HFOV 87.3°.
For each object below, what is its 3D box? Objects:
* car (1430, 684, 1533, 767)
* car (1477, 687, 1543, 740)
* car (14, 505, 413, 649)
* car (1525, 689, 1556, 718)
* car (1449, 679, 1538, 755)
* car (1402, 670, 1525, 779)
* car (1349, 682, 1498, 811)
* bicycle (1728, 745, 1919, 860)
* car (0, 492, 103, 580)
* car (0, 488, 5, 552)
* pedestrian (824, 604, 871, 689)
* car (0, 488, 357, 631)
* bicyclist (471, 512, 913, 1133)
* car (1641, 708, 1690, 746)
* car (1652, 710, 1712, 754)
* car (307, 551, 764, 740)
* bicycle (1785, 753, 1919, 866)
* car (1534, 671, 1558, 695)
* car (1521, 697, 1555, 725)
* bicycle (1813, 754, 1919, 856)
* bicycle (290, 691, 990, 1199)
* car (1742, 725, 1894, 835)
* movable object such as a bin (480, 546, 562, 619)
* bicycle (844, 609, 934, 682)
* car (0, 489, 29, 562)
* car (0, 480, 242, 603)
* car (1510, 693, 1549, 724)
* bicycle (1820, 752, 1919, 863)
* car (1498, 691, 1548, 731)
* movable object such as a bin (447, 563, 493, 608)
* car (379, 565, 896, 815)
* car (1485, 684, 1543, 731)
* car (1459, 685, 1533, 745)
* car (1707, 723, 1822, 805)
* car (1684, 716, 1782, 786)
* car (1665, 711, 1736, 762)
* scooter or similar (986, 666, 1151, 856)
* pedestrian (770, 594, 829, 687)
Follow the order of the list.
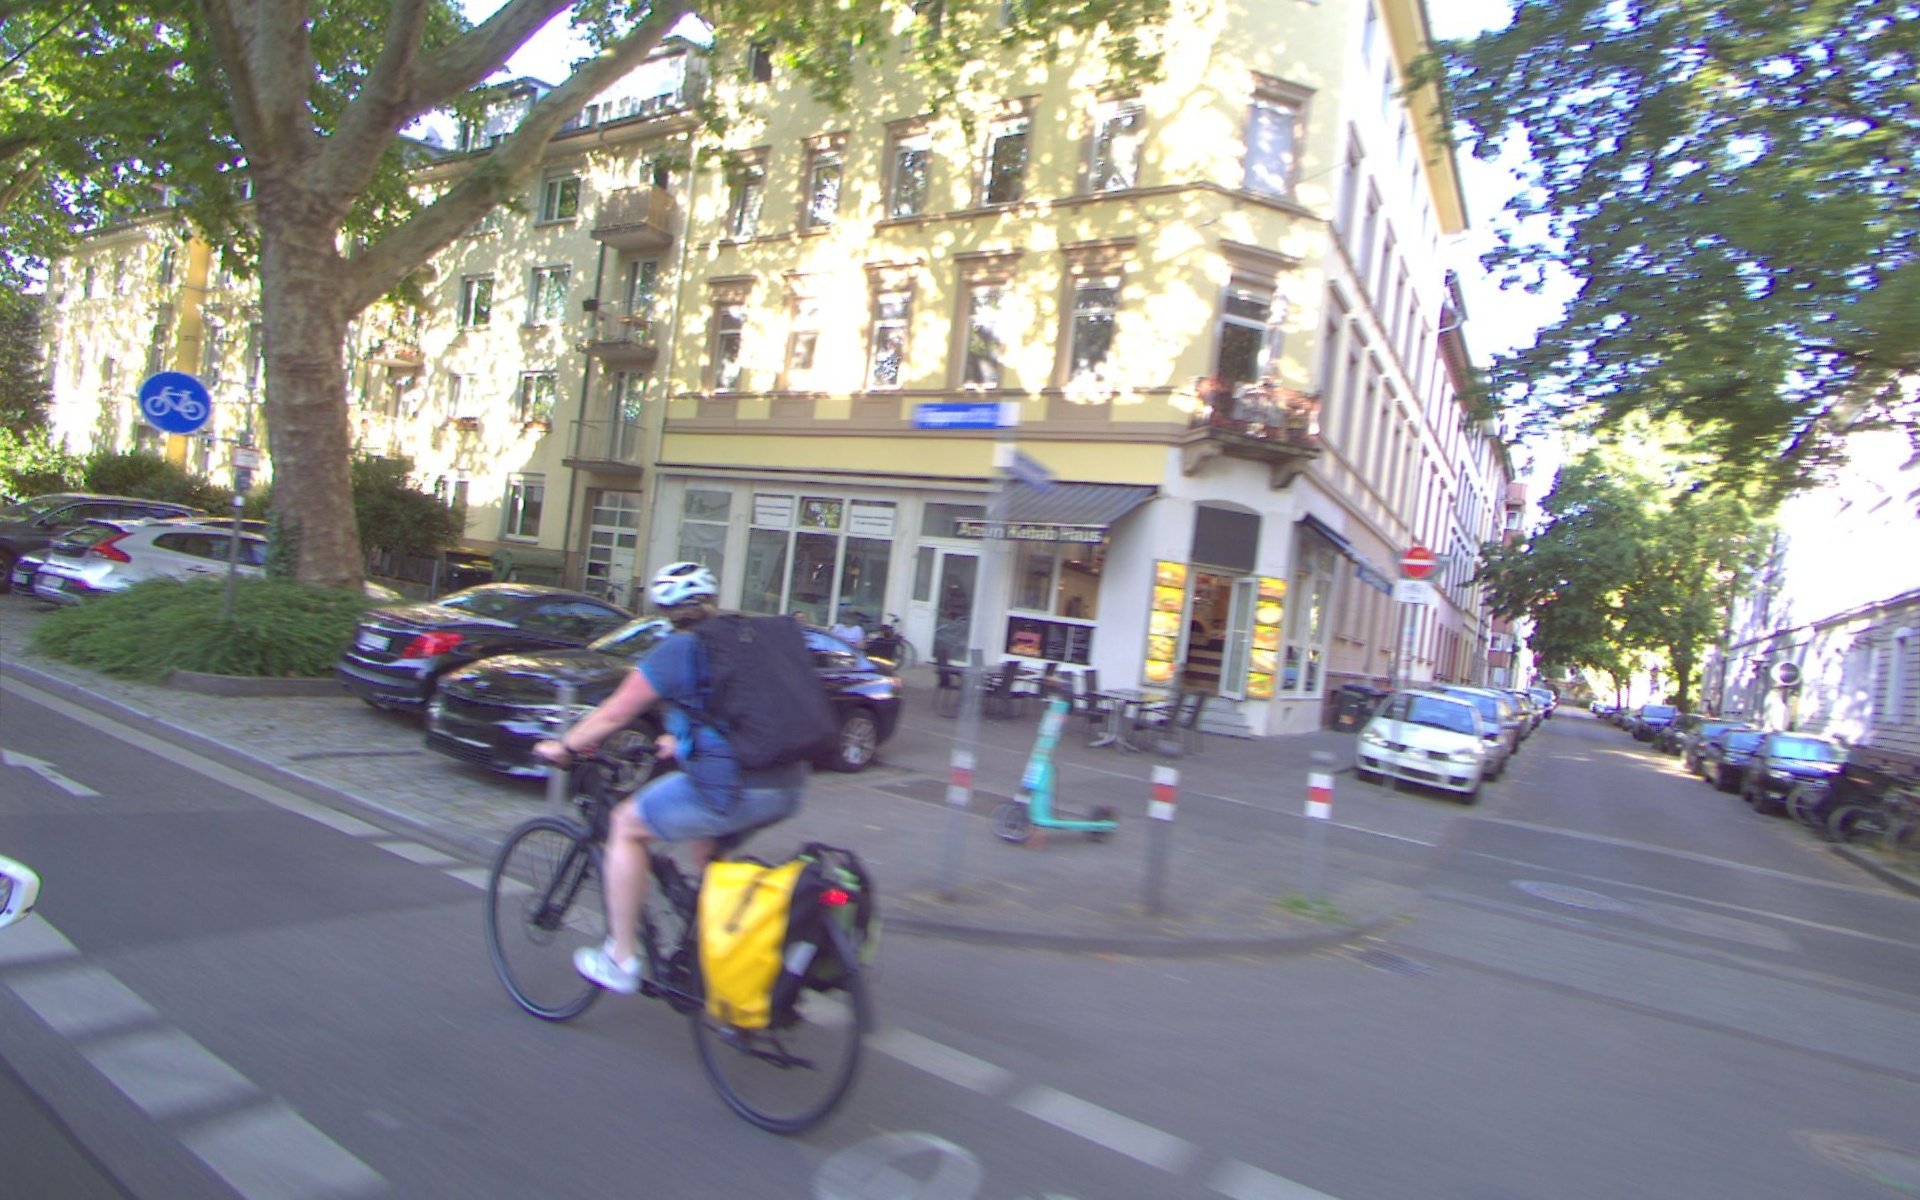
[{"bbox_3d":[12.180,2.883,23.414,1.627,1.508,3.412,9,0,33],"label":"car"},{"bbox_3d":[19.697,4.044,35.975,1.627,1.508,3.412,9,0,33],"label":"car"},{"bbox_3d":[-10.082,-0.222,13.940,1.653,1.498,4.033,7,0,30],"label":"car"},{"bbox_3d":[42.284,7.565,73.287,1.627,1.798,3.413,9,0,32],"label":"car"},{"bbox_3d":[14.771,3.196,27.752,1.627,1.678,4.136,9,0,33],"label":"car"},{"bbox_3d":[9.880,2.372,19.617,1.663,1.636,3.683,9,0,31],"label":"car"},{"bbox_3d":[7.152,2.114,15.352,1.662,1.428,3.685,9,0,28],"label":"car"},{"bbox_3d":[12.814,2.976,14.985,2.010,1.301,0.507,6,0,27],"label":"bicycle"},{"bbox_3d":[-20.150,-1.457,20.583,1.516,1.618,3.600,6,-1,32],"label":"car"},{"bbox_3d":[-24.895,-2.111,23.312,1.666,1.543,3.672,7,2,32],"label":"car"},{"bbox_3d":[-1.908,0.777,16.981,0.480,1.344,0.683,7,0,-21],"label":"pedestrian"},{"bbox_3d":[-11.952,-0.534,15.617,1.653,1.663,4.034,7,0,30],"label":"car"},{"bbox_3d":[-0.818,0.595,3.124,0.920,1.567,0.616,7,-4,32],"label":"bicyclist"},{"bbox_3d":[34.639,6.209,49.458,1.825,1.548,3.861,4,-3,34],"label":"car"},{"bbox_3d":[30.449,5.537,42.501,1.825,1.548,3.861,4,-3,34],"label":"car"},{"bbox_3d":[-4.250,0.550,10.689,1.655,1.509,4.097,7,-1,36],"label":"car"},{"bbox_3d":[12.519,2.871,13.711,1.871,1.301,0.508,5,-1,13],"label":"bicycle"},{"bbox_3d":[50.900,7.184,87.290,1.477,1.798,3.413,9,0,32],"label":"car"},{"bbox_3d":[38.895,7.447,67.654,1.627,1.508,3.412,9,0,33],"label":"car"},{"bbox_3d":[14.184,3.113,15.092,1.975,1.332,0.523,4,-3,32],"label":"bicycle"},{"bbox_3d":[-1.176,0.999,3.267,2.470,1.015,0.596,7,-3,32],"label":"bicycle"},{"bbox_3d":[16.479,3.374,19.520,1.826,1.617,3.988,4,-3,36],"label":"car"},{"bbox_3d":[-9.806,-0.373,22.498,1.099,1.456,1.168,7,1,32],"label":"movable object such as a bin"},{"bbox_3d":[-1.400,0.878,19.662,1.717,1.171,0.470,8,2,32],"label":"bicycle"},{"bbox_3d":[-22.541,-1.814,21.426,1.666,1.537,3.598,7,1,32],"label":"car"},{"bbox_3d":[-14.783,-0.985,16.658,1.817,1.741,4.266,7,2,30],"label":"car"},{"bbox_3d":[33.754,6.423,59.613,1.627,1.508,3.412,9,0,33],"label":"car"},{"bbox_3d":[12.325,2.711,12.916,1.871,1.270,0.508,5,-1,11],"label":"bicycle"},{"bbox_3d":[25.957,5.093,46.329,1.627,1.508,3.412,9,0,33],"label":"car"},{"bbox_3d":[-11.339,-0.327,23.282,0.458,0.955,0.748,7,1,32],"label":"movable object such as a bin"},{"bbox_3d":[-2.518,0.749,8.913,1.800,1.509,4.104,7,-1,30],"label":"car"},{"bbox_3d":[22.244,4.308,40.341,1.627,1.508,3.412,9,0,33],"label":"car"},{"bbox_3d":[17.064,3.636,31.979,1.627,1.508,3.412,9,0,33],"label":"car"},{"bbox_3d":[18.841,3.782,23.707,1.826,1.484,3.988,4,-3,36],"label":"car"},{"bbox_3d":[21.392,4.131,27.973,1.825,1.548,3.990,4,-3,34],"label":"car"},{"bbox_3d":[27.119,4.948,36.962,1.825,1.548,3.990,4,-3,34],"label":"car"},{"bbox_3d":[0.838,1.185,7.500,1.304,1.271,0.337,8,0,-45],"label":"scooter or similar"},{"bbox_3d":[-2.611,0.641,16.286,0.480,1.392,1.049,7,0,-27],"label":"pedestrian"}]
